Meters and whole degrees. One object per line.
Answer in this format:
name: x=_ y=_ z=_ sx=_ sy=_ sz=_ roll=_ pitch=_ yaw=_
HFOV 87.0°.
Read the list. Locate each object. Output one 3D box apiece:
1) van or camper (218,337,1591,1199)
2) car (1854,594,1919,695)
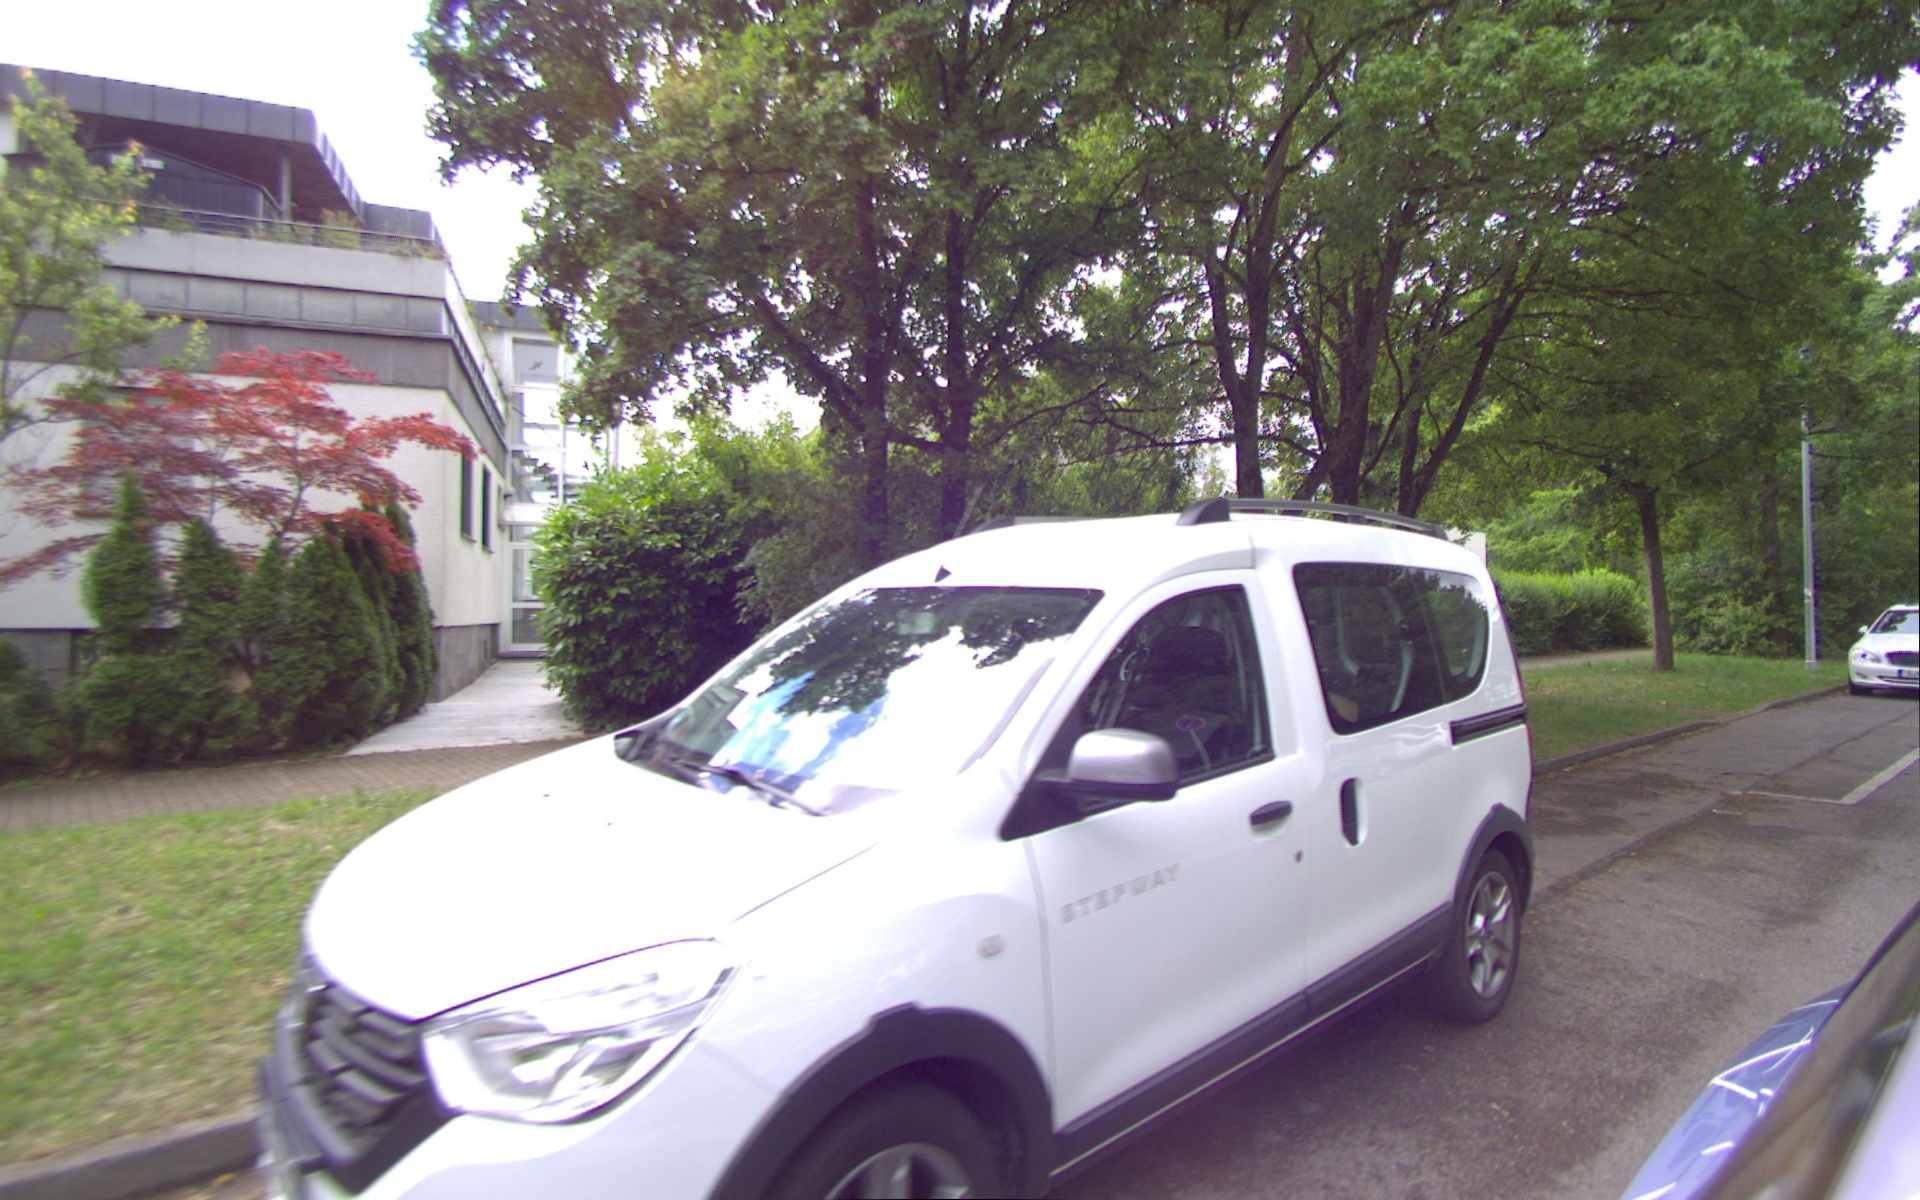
van or camper: x=0.305 y=0.570 z=3.297 sx=4.246 sy=1.861 sz=1.804 roll=-2 pitch=1 yaw=-41
car: x=16.545 y=0.668 z=16.800 sx=5.085 sy=1.526 sz=1.889 roll=0 pitch=0 yaw=-41
